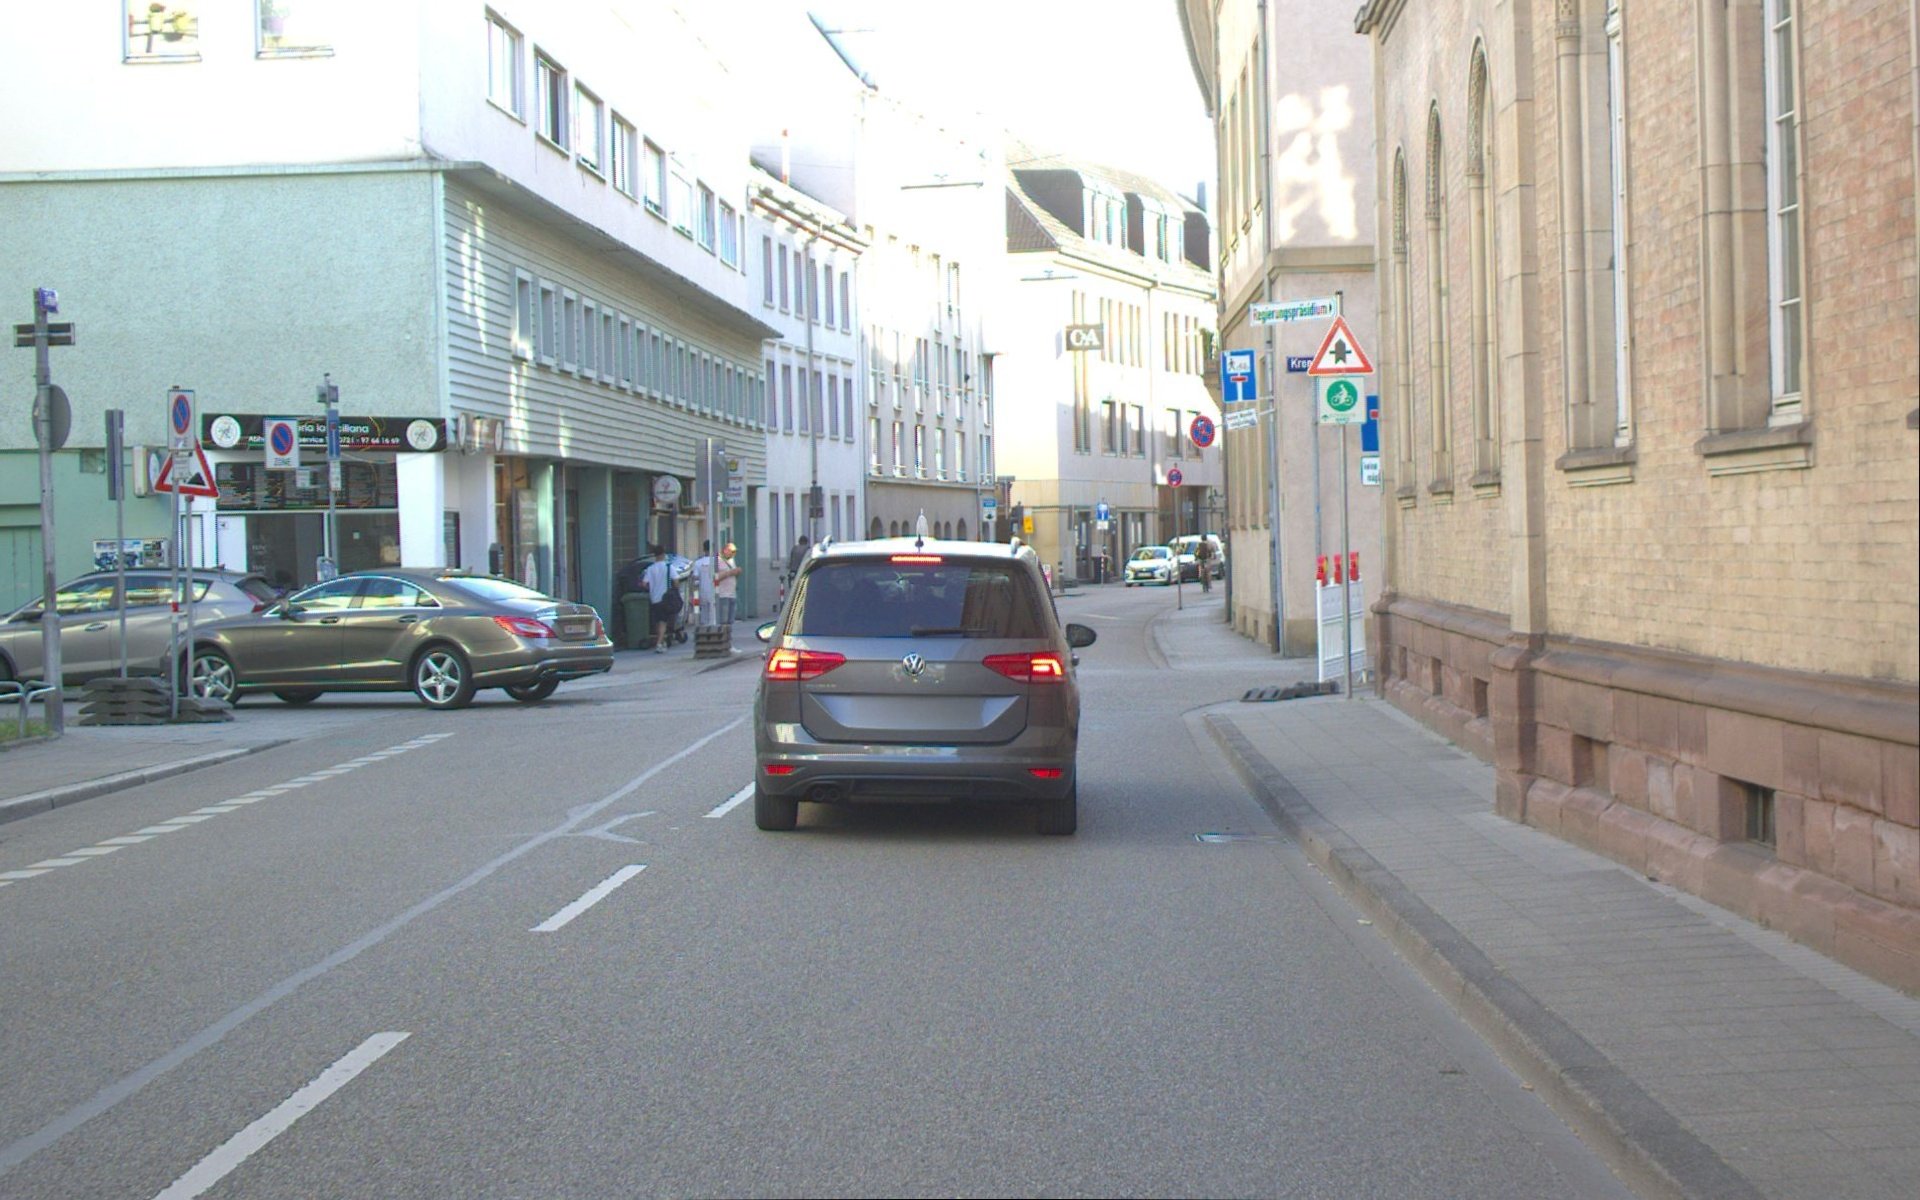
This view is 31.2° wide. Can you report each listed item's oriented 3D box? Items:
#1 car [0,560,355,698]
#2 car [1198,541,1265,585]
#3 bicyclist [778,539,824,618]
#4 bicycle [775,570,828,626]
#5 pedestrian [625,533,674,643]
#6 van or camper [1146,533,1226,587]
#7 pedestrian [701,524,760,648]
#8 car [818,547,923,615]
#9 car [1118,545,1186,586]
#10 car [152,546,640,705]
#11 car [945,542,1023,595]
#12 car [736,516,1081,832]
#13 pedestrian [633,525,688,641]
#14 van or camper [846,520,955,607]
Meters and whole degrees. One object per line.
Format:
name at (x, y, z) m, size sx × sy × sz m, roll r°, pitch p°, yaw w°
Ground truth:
car at (-9.249, 0.324, 39.652) m, size 4.098 × 1.438 × 1.947 m, roll -2°, pitch 1°, yaw 3°
car at (11.179, -1.535, 141.339) m, size 1.827 × 1.720 × 3.997 m, roll -1°, pitch 1°, yaw 18°
bicyclist at (-3.172, -0.428, 68.743) m, size 0.831 × 1.556 × 0.759 m, roll -1°, pitch 1°, yaw 2°
bicycle at (-3.166, -0.056, 68.697) m, size 0.831 × 1.050 × 2.549 m, roll -1°, pitch 1°, yaw 2°
pedestrian at (-5.162, -0.203, 57.227) m, size 0.728 × 1.823 × 0.557 m, roll -1°, pitch 1°, yaw 1°
van or camper at (8.908, -1.586, 135.111) m, size 1.995 × 2.007 × 4.994 m, roll 0°, pitch 1°, yaw 17°
pedestrian at (-3.407, -0.215, 51.019) m, size 0.556 × 1.823 × 0.730 m, roll -1°, pitch 1°, yaw 25°
car at (-1.984, -0.446, 77.508) m, size 1.866 × 1.463 × 3.833 m, roll -1°, pitch 1°, yaw 6°
car at (7.260, -1.314, 129.427) m, size 1.735 × 1.463 × 3.997 m, roll -1°, pitch 1°, yaw 15°
car at (-5.838, 0.259, 35.561) m, size 4.620 × 1.536 × 1.998 m, roll -1°, pitch 1°, yaw 24°
car at (0.721, -0.933, 99.352) m, size 1.866 × 1.463 × 3.833 m, roll -1°, pitch 1°, yaw 6°
car at (-0.234, 0.355, 20.003) m, size 1.762 × 1.601 × 4.000 m, roll 2°, pitch 1°, yaw 1°
pedestrian at (-4.753, -0.272, 54.594) m, size 0.556 × 1.823 × 0.730 m, roll -1°, pitch 1°, yaw 25°
van or camper at (-1.415, -0.901, 83.222) m, size 1.994 × 2.007 × 4.482 m, roll -1°, pitch 1°, yaw 7°
